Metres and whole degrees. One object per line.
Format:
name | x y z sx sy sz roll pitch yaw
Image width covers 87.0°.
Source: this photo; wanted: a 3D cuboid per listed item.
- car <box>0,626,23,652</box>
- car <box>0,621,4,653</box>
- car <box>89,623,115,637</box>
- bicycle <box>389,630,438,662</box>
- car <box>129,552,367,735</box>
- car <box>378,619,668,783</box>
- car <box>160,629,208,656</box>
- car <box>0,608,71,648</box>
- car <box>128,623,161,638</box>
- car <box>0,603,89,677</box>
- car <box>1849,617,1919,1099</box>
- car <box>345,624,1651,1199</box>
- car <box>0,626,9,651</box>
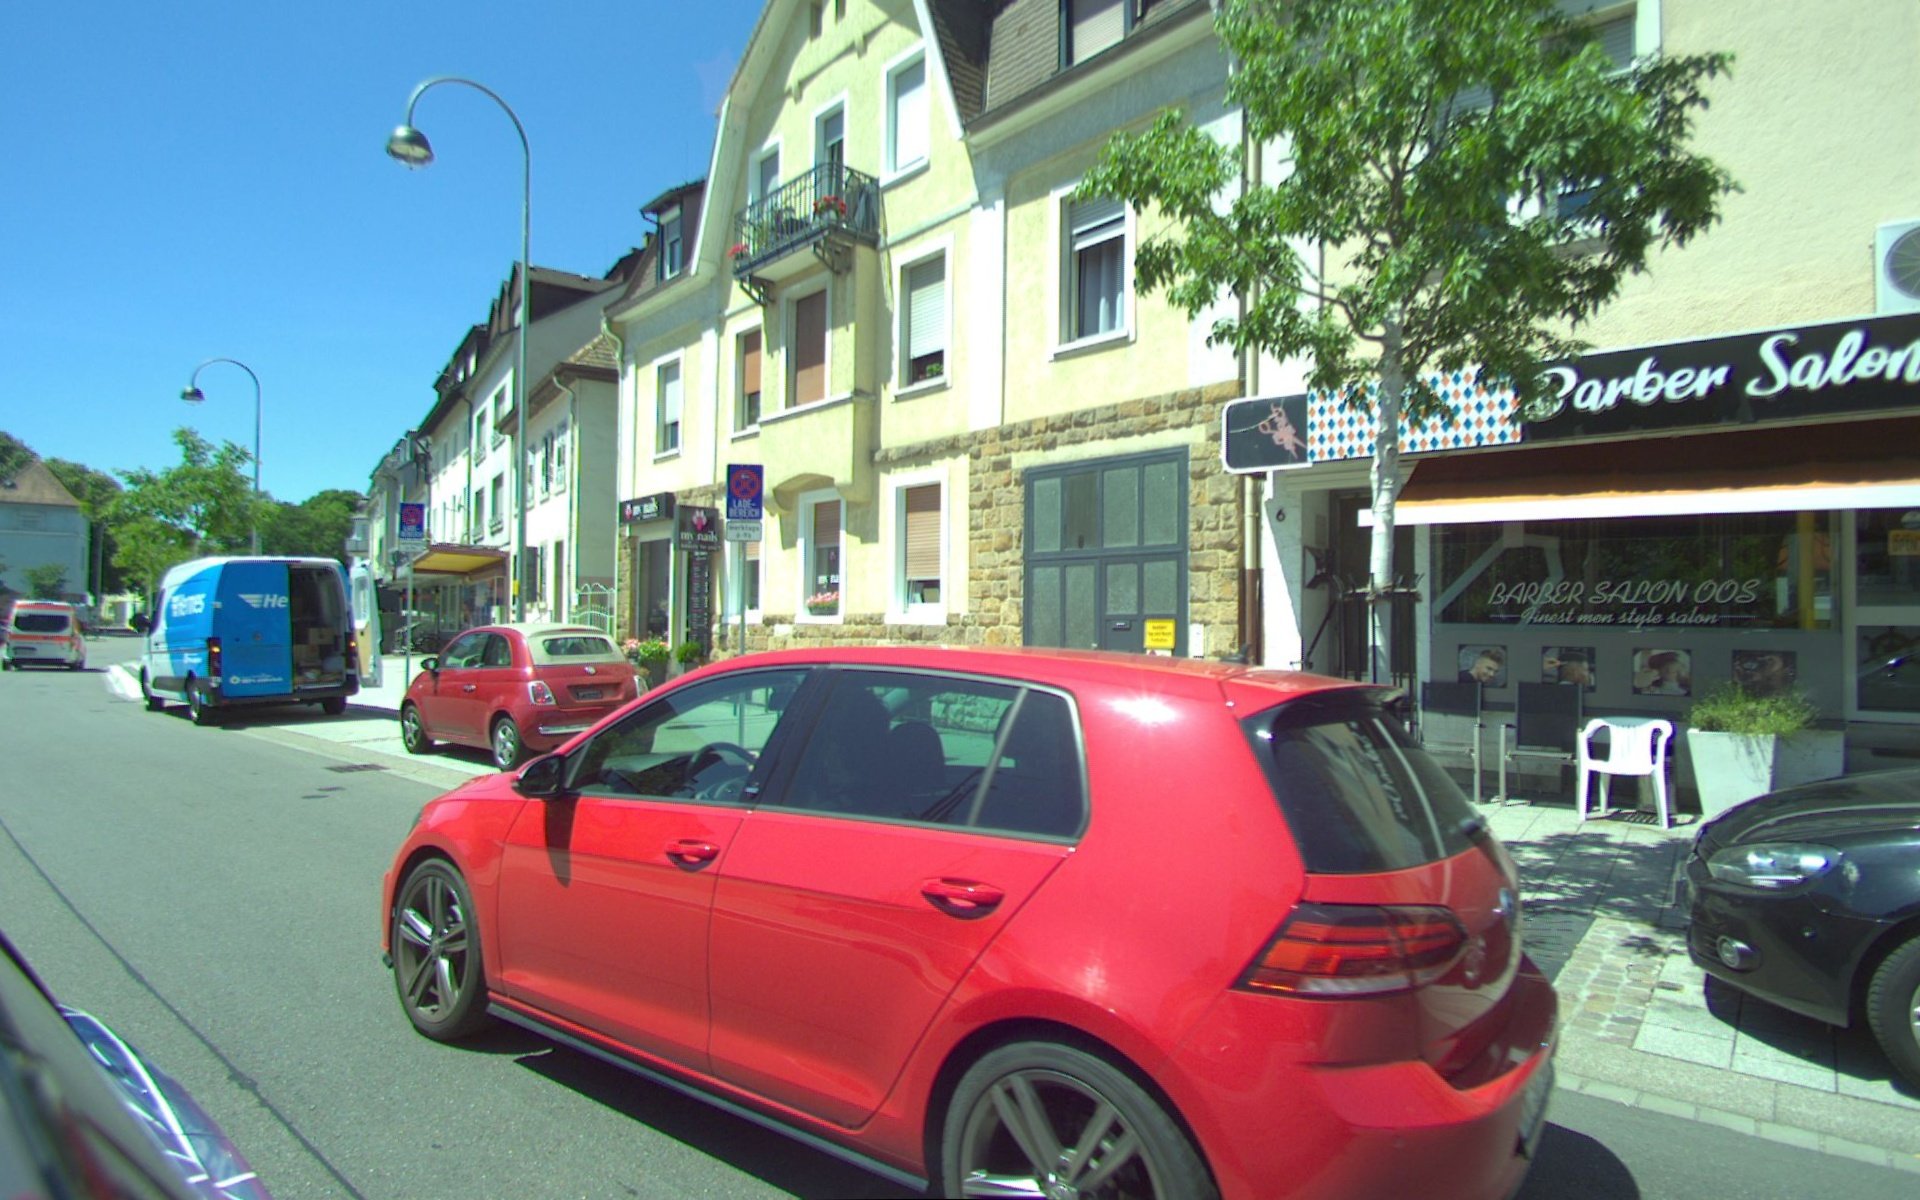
car | -58.393 2.285 60.127 3.756 1.473 1.656 3 -3 -34
car | -55.595 2.013 55.852 3.757 1.800 1.845 3 -3 -35
car | -102.358 3.582 120.727 4.082 1.495 1.664 -1 -4 40
bicycle | -22.886 1.918 42.403 1.741 1.244 0.618 -1 -1 -34
car | -11.817 0.657 16.614 5.502 2.517 2.070 -2 -1 42
car | -4.976 1.000 11.362 3.512 1.532 1.544 0 -1 39
car | -46.599 2.535 60.801 1.657 1.495 3.780 -1 -1 -28
car | -66.839 1.997 72.211 4.788 2.757 1.856 3 -3 -32
car | -88.874 3.338 110.278 3.851 1.465 1.604 0 -4 32
car | -32.173 1.420 35.493 2.128 2.380 5.257 4 -4 -38
car | 5.260 0.790 2.611 4.333 1.493 1.896 -1 -1 39
car | -0.127 0.851 3.397 3.973 1.438 1.898 -1 -5 37
car | -57.110 2.135 57.931 3.559 1.473 1.621 4 -4 -34
